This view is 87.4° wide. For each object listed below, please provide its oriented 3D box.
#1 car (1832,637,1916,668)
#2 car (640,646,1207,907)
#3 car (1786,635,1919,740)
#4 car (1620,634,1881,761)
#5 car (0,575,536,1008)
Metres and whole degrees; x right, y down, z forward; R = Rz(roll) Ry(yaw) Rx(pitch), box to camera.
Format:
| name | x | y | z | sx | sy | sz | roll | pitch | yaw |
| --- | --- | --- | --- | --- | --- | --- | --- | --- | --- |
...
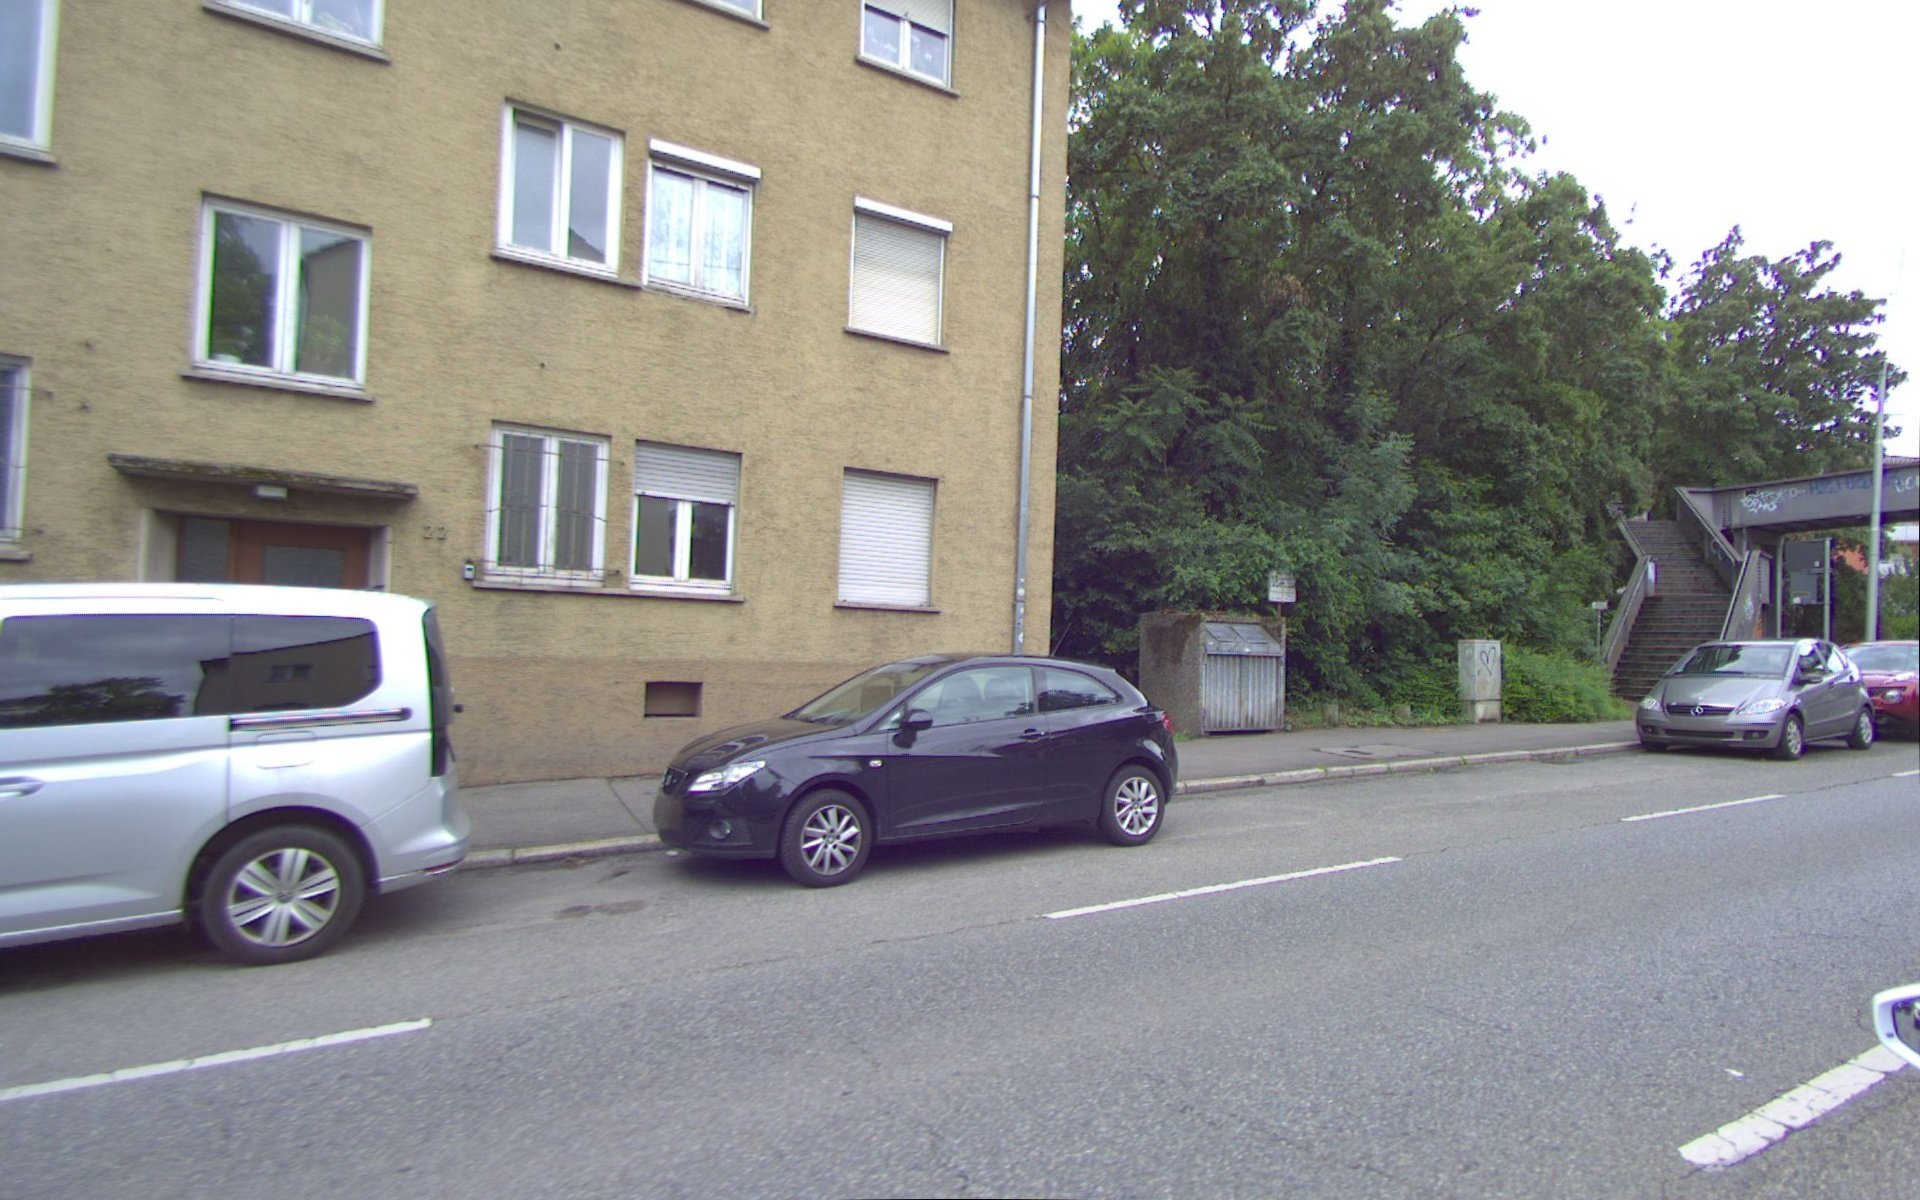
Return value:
| name | x | y | z | sx | sy | sz | roll | pitch | yaw |
| --- | --- | --- | --- | --- | --- | --- | --- | --- | --- |
| car | 49.227 | 2.807 | 54.195 | 1.771 | 1.530 | 4.002 | 0 | -2 | 17 |
| car | -0.206 | 1.086 | 7.459 | 3.867 | 1.458 | 1.737 | 1 | -3 | -31 |
| car | 15.475 | 1.378 | 16.606 | 3.936 | 1.560 | 1.526 | 1 | -3 | -31 |
| car | 11.364 | 1.297 | 14.397 | 3.865 | 1.589 | 1.736 | 1 | -3 | -32 |
| car | -4.573 | 0.817 | 4.808 | 4.504 | 1.777 | 1.768 | 1 | -3 | -31 |
